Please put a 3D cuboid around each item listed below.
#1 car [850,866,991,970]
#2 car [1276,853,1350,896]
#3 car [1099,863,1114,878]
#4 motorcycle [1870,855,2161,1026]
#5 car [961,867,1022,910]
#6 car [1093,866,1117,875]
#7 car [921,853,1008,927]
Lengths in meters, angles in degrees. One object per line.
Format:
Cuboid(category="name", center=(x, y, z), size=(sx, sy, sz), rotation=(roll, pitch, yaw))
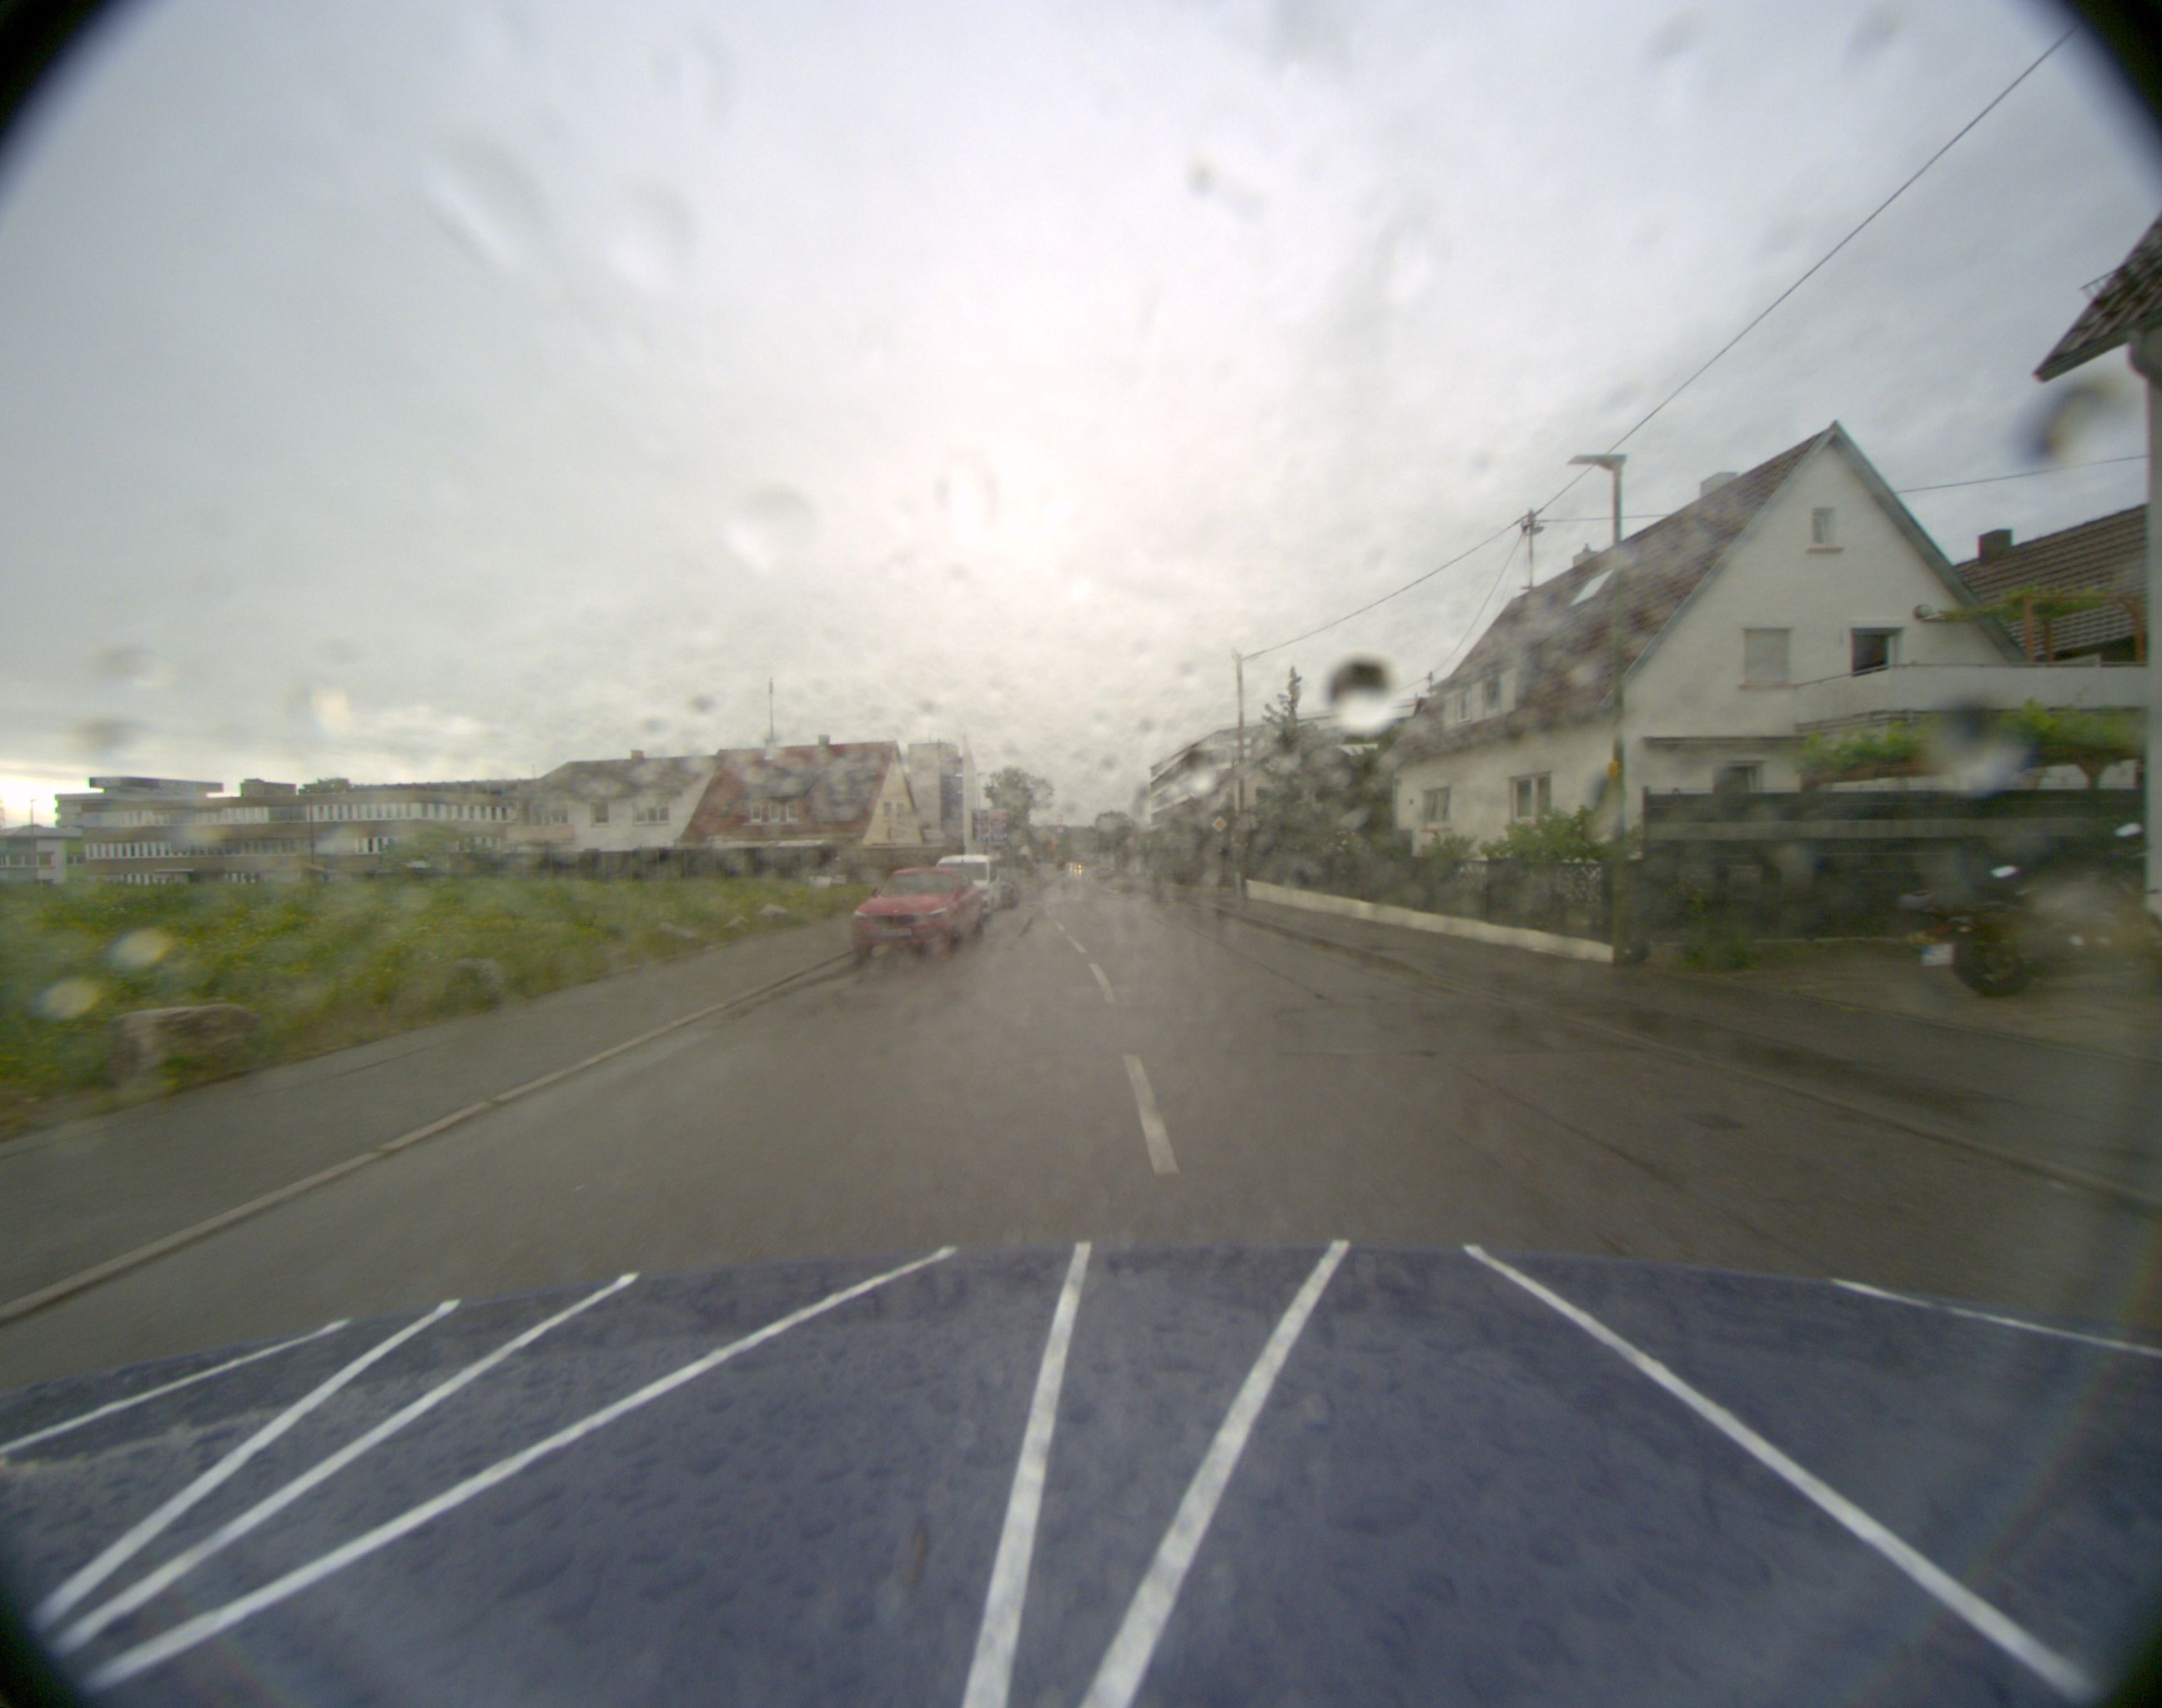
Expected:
Cuboid(category="car", center=(-2.926, 1.094, 14.872), size=(1.646, 1.565, 4.644), rotation=(-3, 0, 1))
Cuboid(category="car", center=(8.799, 0.747, 29.086), size=(1.783, 1.459, 3.456), rotation=(-2, 1, 0))
Cuboid(category="car", center=(3.109, 2.030, 93.481), size=(1.841, 1.696, 4.324), rotation=(-2, 0, 1))
Cuboid(category="motorcycle", center=(8.615, 0.730, 6.758), size=(2.368, 1.266, 0.736), rotation=(-4, 1, 0))
Cuboid(category="car", center=(-3.241, 1.236, 28.295), size=(1.773, 1.328, 4.320), rotation=(-3, 0, -1))
Cuboid(category="car", center=(4.437, 3.040, 139.106), size=(4.166, 1.411, 2.001), rotation=(-4, 0, 4))
Cuboid(category="car", center=(-3.209, 0.929, 21.807), size=(1.773, 1.814, 4.574), rotation=(-3, 0, -1))
